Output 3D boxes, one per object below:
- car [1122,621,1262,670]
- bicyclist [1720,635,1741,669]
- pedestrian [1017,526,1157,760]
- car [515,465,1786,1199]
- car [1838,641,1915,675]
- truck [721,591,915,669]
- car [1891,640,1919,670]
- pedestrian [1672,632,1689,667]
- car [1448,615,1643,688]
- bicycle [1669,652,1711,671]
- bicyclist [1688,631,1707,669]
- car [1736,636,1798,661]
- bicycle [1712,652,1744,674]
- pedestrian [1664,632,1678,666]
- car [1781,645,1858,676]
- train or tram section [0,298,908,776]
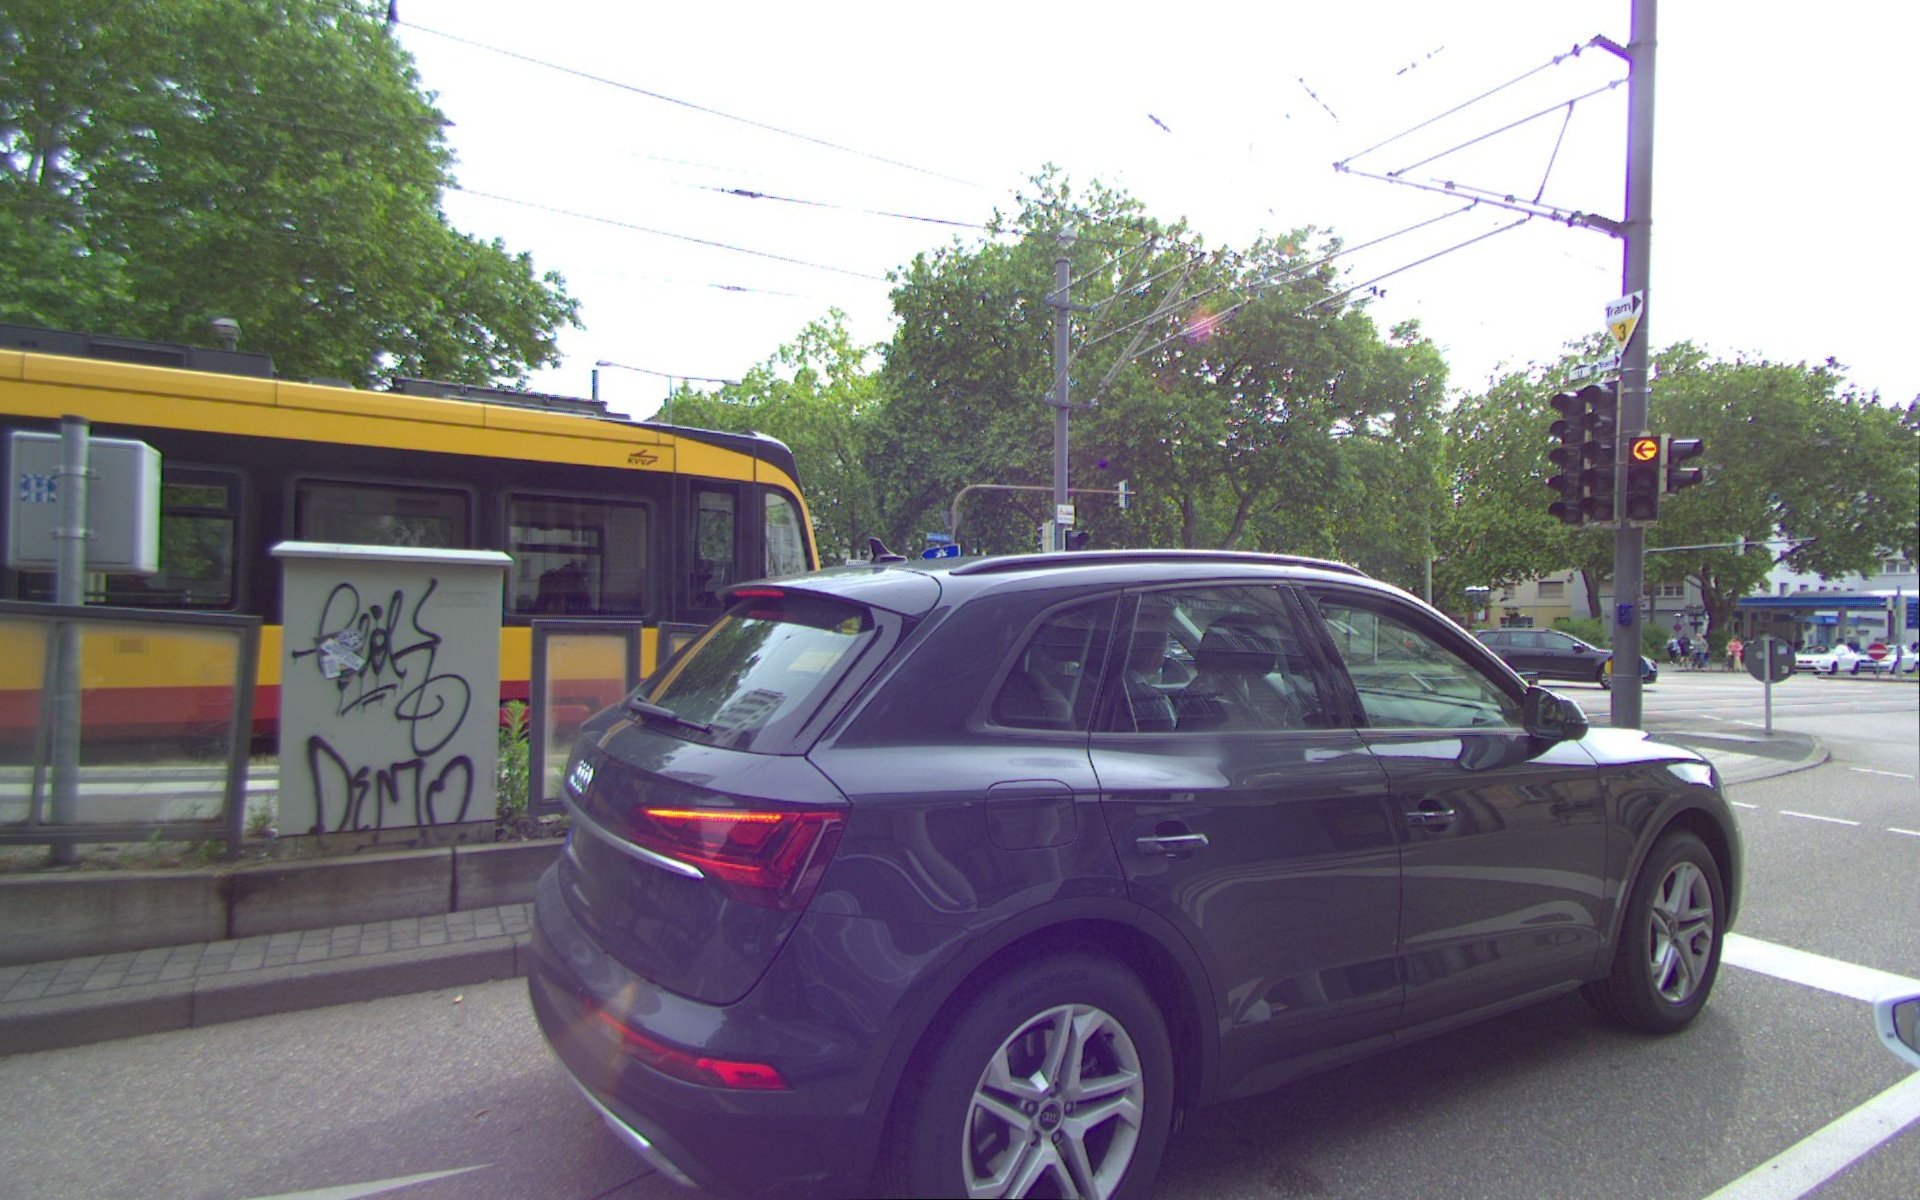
[{"bbox_3d":[8.453,1.621,36.805,4.660,1.530,1.830,2,0,39],"label":"car"},{"bbox_3d":[37.135,2.502,48.433,0.611,1.588,0.585,2,0,-30],"label":"bicyclist"},{"bbox_3d":[0.967,0.319,7.730,0.722,1.683,0.750,2,0,-30],"label":"pedestrian"},{"bbox_3d":[0.881,0.653,3.584,4.308,1.622,1.870,2,-1,-31],"label":"car"},{"bbox_3d":[46.969,2.947,51.476,3.792,1.578,1.885,2,0,-30],"label":"car"},{"bbox_3d":[-6.407,1.170,43.685,10.035,2.980,2.622,1,0,43],"label":"truck"},{"bbox_3d":[52.923,3.043,54.959,3.792,1.578,1.885,2,0,-30],"label":"car"},{"bbox_3d":[38.190,2.606,53.246,0.541,1.808,0.375,2,0,-4],"label":"pedestrian"},{"bbox_3d":[15.299,1.288,26.316,4.268,1.607,1.806,2,0,35],"label":"car"},{"bbox_3d":[35.765,3.015,49.246,0.644,0.783,1.682,2,0,-9],"label":"bicycle"},{"bbox_3d":[35.910,2.435,48.937,0.461,1.808,0.534,2,0,-10],"label":"bicyclist"},{"bbox_3d":[54.815,3.318,68.215,3.954,1.550,1.984,2,0,-30],"label":"car"},{"bbox_3d":[36.885,3.013,48.215,1.914,1.031,0.519,2,0,-30],"label":"bicycle"},{"bbox_3d":[37.943,2.597,53.618,0.440,1.808,0.375,2,0,3],"label":"pedestrian"},{"bbox_3d":[41.431,2.905,48.399,3.954,1.343,1.626,2,0,-31],"label":"car"},{"bbox_3d":[-8.135,-0.496,8.918,15.665,3.636,3.045,2,0,-31],"label":"train or tram section"}]
